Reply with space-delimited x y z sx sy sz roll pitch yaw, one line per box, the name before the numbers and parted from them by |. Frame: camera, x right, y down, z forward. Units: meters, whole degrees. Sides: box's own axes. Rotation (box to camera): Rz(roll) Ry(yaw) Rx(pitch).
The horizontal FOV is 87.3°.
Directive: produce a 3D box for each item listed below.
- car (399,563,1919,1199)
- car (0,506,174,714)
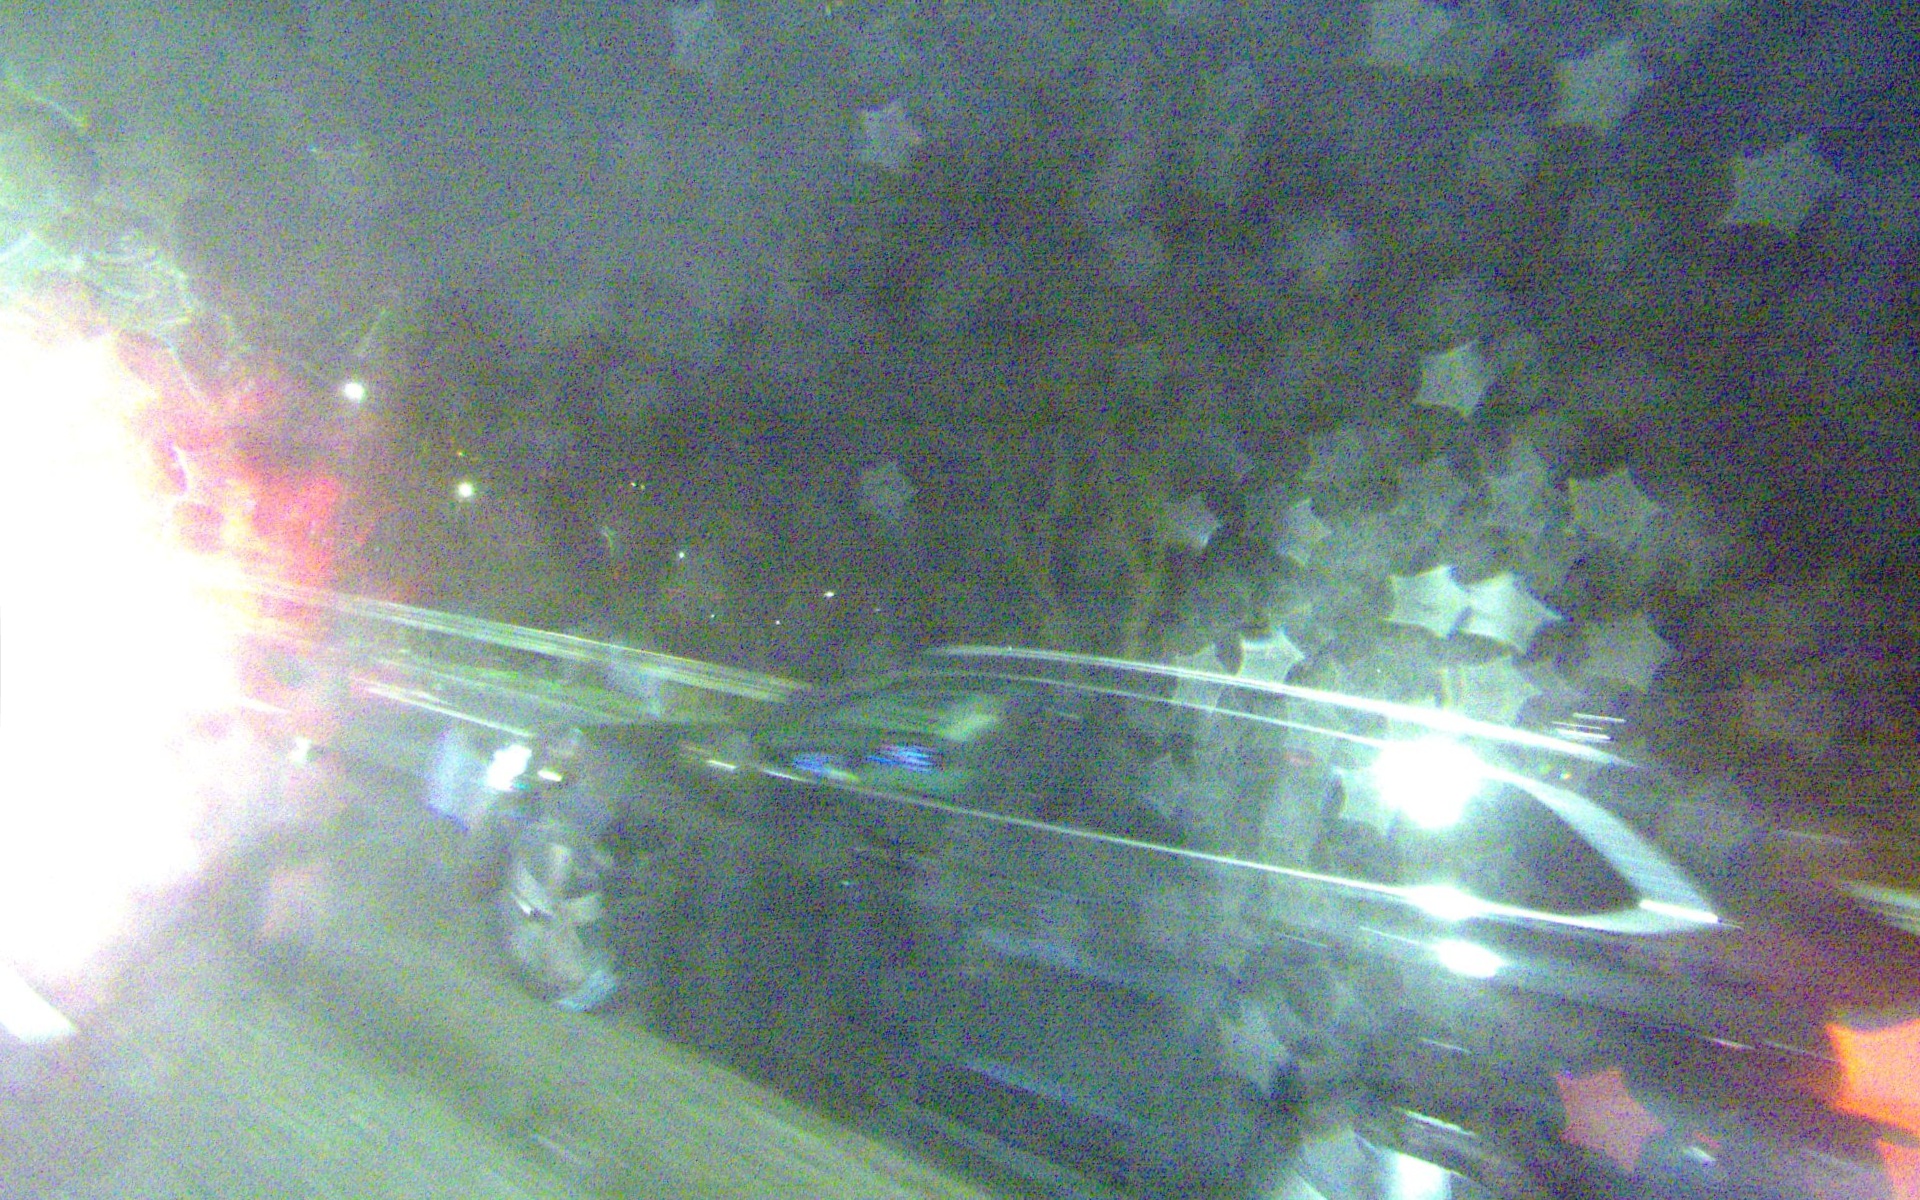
car | 0.254 0.899 3.395 4.485 1.522 1.677 5 -4 33
car | -8.719 -0.071 8.623 3.893 1.539 1.681 6 -2 30
